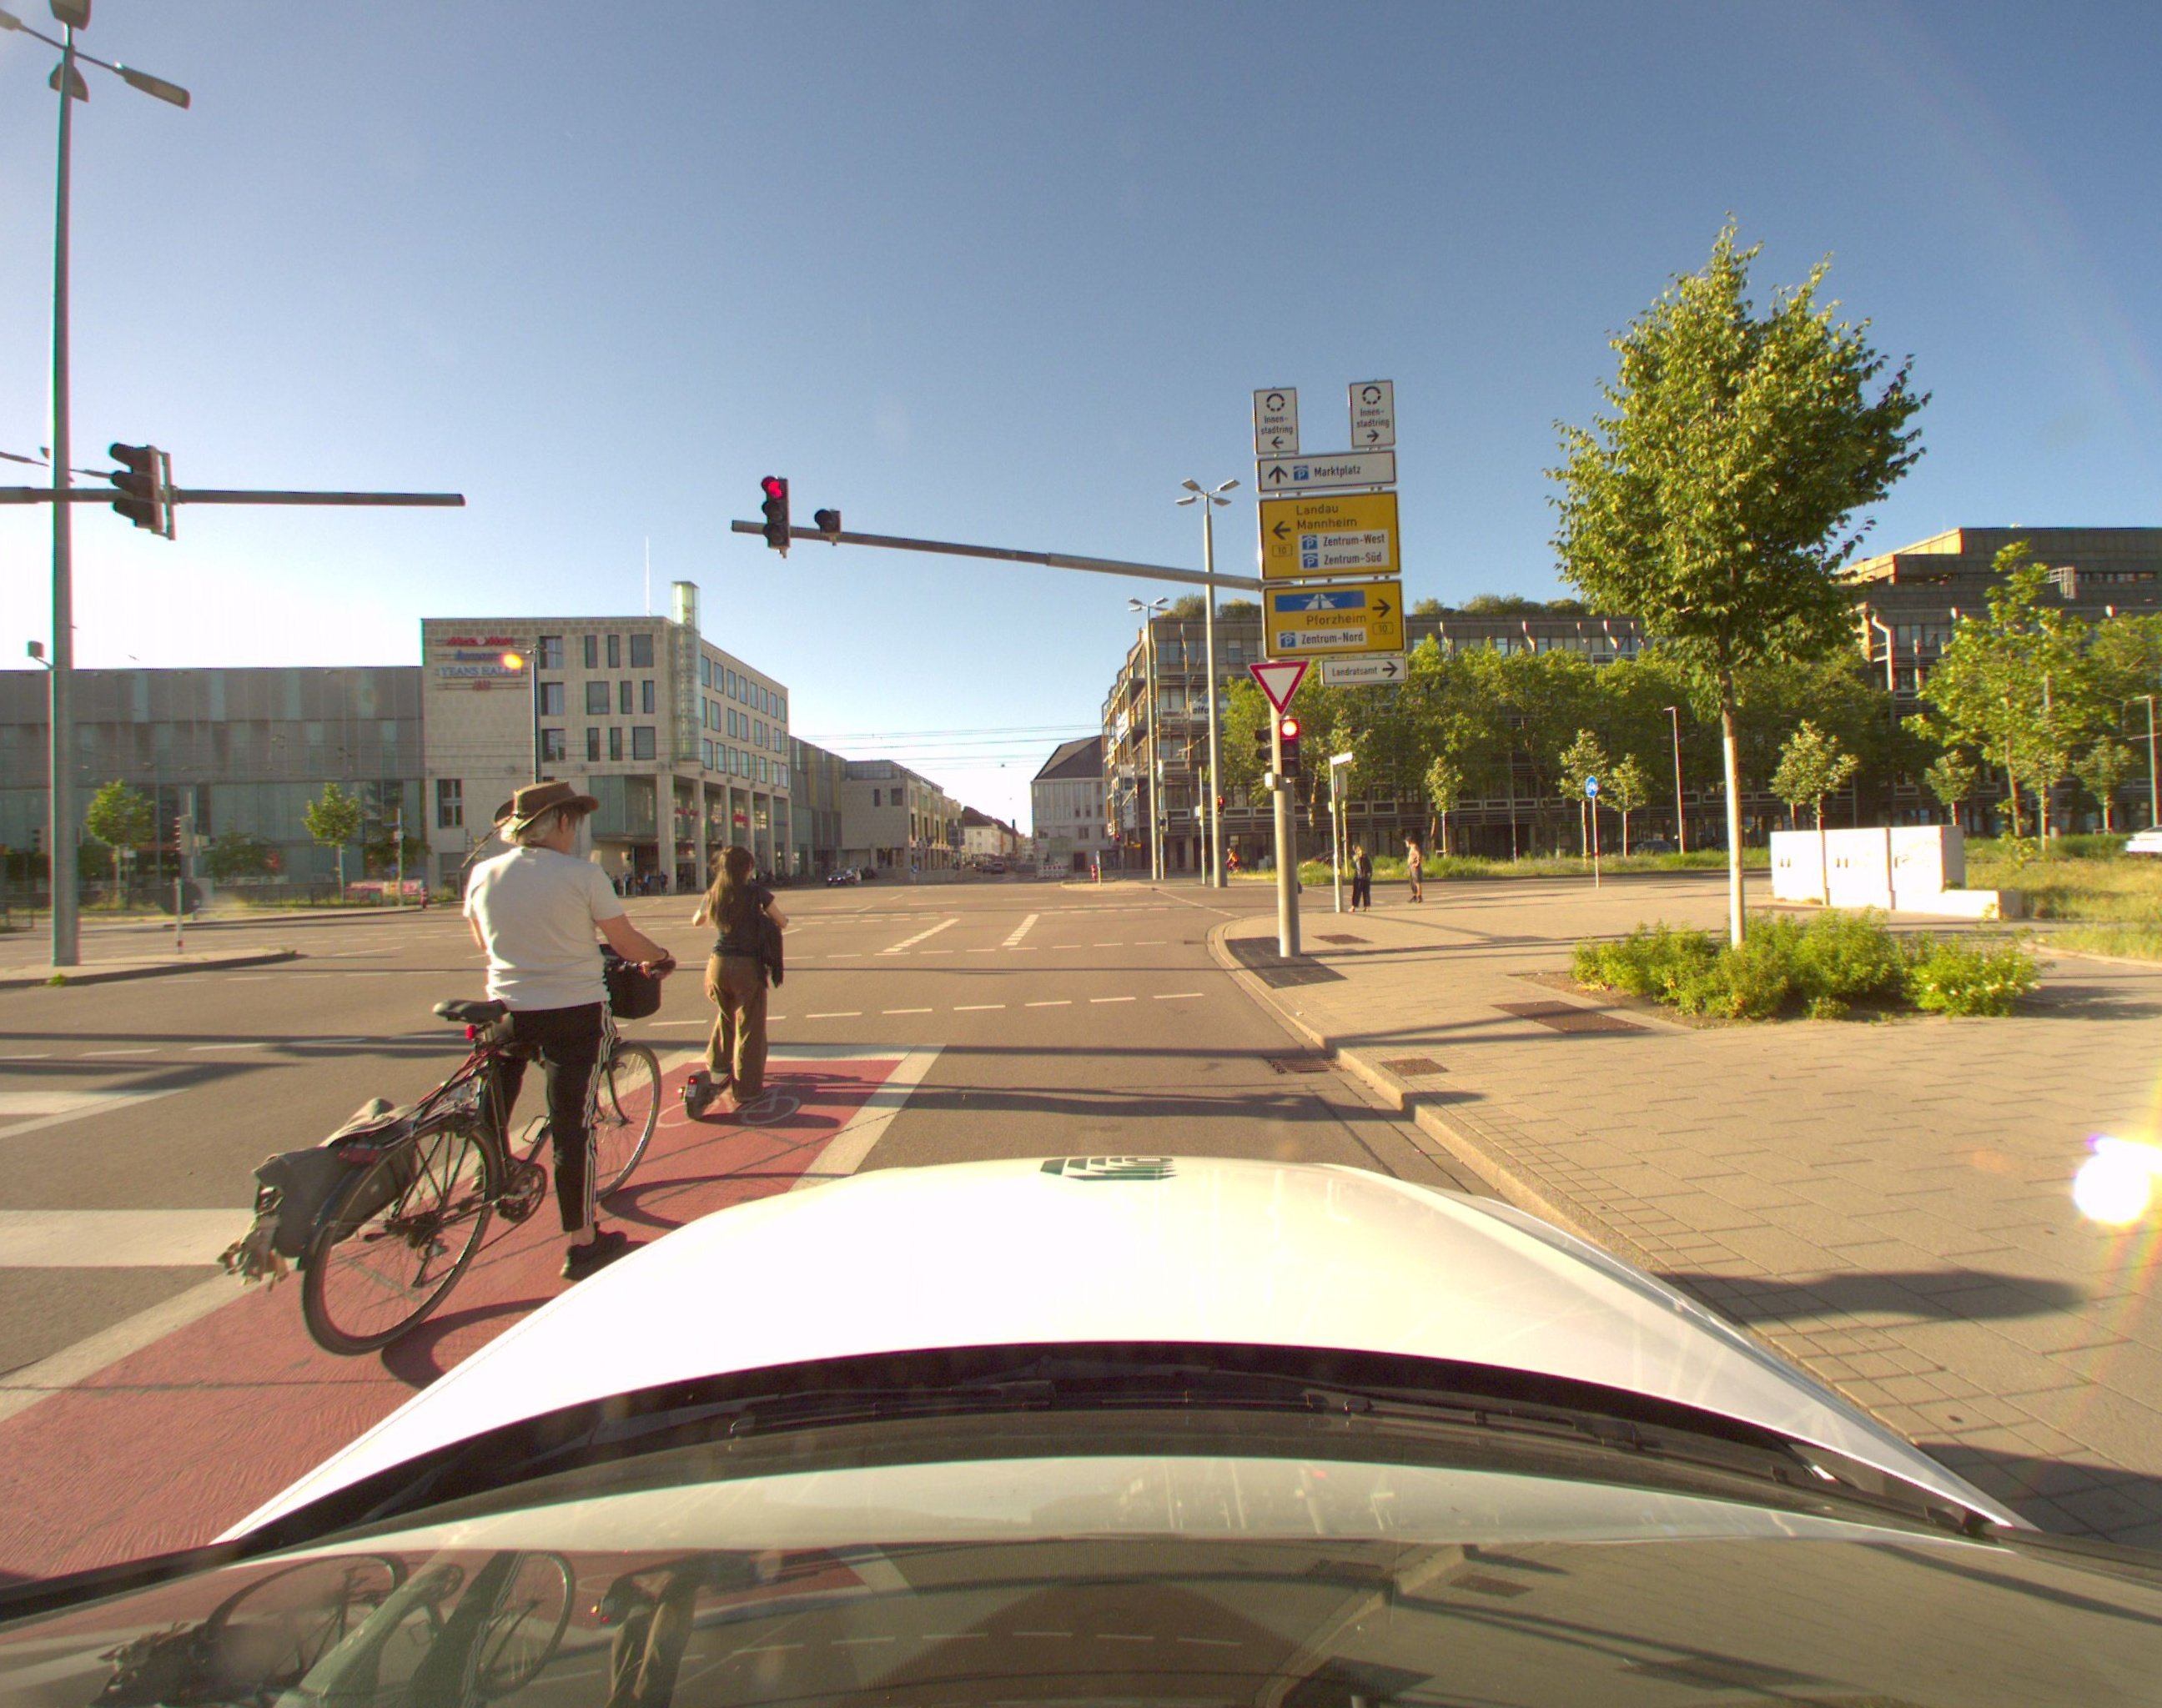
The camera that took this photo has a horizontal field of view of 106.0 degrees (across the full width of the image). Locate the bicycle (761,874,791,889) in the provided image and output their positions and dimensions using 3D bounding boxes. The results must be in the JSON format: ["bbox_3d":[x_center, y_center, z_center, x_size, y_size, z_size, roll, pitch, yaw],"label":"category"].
[{"bbox_3d":[-26.464,2.413,70.657,2.299,1.222,0.612,-2,0,-1],"label":"bicycle"}]

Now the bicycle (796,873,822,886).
[{"bbox_3d":[-27.187,2.506,81.349,2.299,1.222,0.612,-2,0,-1],"label":"bicycle"}]

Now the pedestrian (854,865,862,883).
[{"bbox_3d":[-21.383,1.901,78.185,0.650,1.719,0.447,-2,0,-22],"label":"pedestrian"}]

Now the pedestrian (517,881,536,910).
[{"bbox_3d":[-39.958,2.997,58.662,0.883,2.014,0.771,0,-1,-9],"label":"pedestrian"}]

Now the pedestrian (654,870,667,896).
[{"bbox_3d":[-30.794,2.115,59.672,0.800,1.843,0.856,-2,0,-26],"label":"pedestrian"}]

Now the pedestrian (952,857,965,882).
[{"bbox_3d":[-9.391,1.192,62.428,0.637,1.890,0.794,-1,-1,16],"label":"pedestrian"}]

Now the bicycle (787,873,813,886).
[{"bbox_3d":[-27.631,2.499,80.132,2.299,1.222,0.612,-2,0,-1],"label":"bicycle"}]

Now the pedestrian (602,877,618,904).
[{"bbox_3d":[-33.980,2.621,58.714,0.714,1.885,0.786,0,-1,-6],"label":"pedestrian"}]

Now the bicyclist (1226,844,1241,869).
[{"bbox_3d":[8.833,0.119,47.112,0.710,1.437,0.496,0,-1,-7],"label":"bicyclist"}]

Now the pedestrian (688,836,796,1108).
[{"bbox_3d":[-2.163,0.710,5.250,0.549,1.633,0.569,0,-1,-13],"label":"pedestrian"}]

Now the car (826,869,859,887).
[{"bbox_3d":[-20.627,2.048,70.513,1.625,1.342,3.999,-4,-1,0],"label":"car"}]

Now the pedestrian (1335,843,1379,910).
[{"bbox_3d":[6.308,0.504,18.661,0.785,1.492,0.644,0,-1,1],"label":"pedestrian"}]

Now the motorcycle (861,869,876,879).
[{"bbox_3d":[-25.784,2.425,98.745,1.807,1.206,0.509,0,0,-14],"label":"motorcycle"}]

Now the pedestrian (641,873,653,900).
[{"bbox_3d":[-31.054,2.310,58.281,0.718,1.885,0.781,0,-1,-25],"label":"pedestrian"}]

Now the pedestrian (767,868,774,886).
[{"bbox_3d":[-29.398,2.158,77.129,0.553,1.679,0.606,0,0,-8],"label":"pedestrian"}]

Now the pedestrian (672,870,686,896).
[{"bbox_3d":[-29.108,2.063,58.946,0.801,1.843,0.855,-2,0,-30],"label":"pedestrian"}]

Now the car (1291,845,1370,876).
[{"bbox_3d":[14.053,0.360,45.975,3.880,1.585,1.656,-2,-1,-6],"label":"car"}]

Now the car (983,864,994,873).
[{"bbox_3d":[-15.914,2.445,140.214,1.782,1.451,3.993,0,-1,-5],"label":"car"}]

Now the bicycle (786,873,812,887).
[{"bbox_3d":[-27.065,2.478,78.137,2.299,1.222,0.612,-2,0,-1],"label":"bicycle"}]

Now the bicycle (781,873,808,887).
[{"bbox_3d":[-26.699,2.458,75.970,2.299,1.222,0.612,-2,0,-1],"label":"bicycle"}]

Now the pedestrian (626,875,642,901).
[{"bbox_3d":[-32.514,2.465,59.250,0.783,1.885,0.716,0,-1,-4],"label":"pedestrian"}]

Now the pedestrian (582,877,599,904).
[{"bbox_3d":[-35.131,2.594,58.344,0.783,1.885,0.716,0,-1,-4],"label":"pedestrian"}]

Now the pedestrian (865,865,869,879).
[{"bbox_3d":[-26.104,2.186,99.361,0.521,1.679,0.580,0,0,-12],"label":"pedestrian"}]

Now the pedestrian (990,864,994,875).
[{"bbox_3d":[-12.838,2.234,117.683,0.520,1.679,0.582,0,0,-5],"label":"pedestrian"}]

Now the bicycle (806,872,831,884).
[{"bbox_3d":[-27.590,2.543,85.587,2.299,1.222,0.612,-2,0,-1],"label":"bicycle"}]

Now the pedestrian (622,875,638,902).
[{"bbox_3d":[-31.948,2.448,57.698,0.783,1.885,0.716,0,-1,-4],"label":"pedestrian"}]

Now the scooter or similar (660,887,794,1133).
[{"bbox_3d":[-2.157,0.874,5.081,0.547,1.294,1.188,0,-1,-13],"label":"scooter or similar"}]

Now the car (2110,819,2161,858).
[{"bbox_3d":[41.809,-0.657,30.336,4.934,1.419,1.850,-2,0,-4],"label":"car"}]

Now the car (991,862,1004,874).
[{"bbox_3d":[-11.140,1.854,108.661,1.735,1.531,3.848,0,-1,-5],"label":"car"}]

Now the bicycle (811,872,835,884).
[{"bbox_3d":[-27.426,2.551,86.653,2.299,1.222,0.612,-2,0,-1],"label":"bicycle"}]

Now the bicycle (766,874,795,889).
[{"bbox_3d":[-26.567,2.425,72.017,2.299,1.222,0.612,-2,0,-1],"label":"bicycle"}]

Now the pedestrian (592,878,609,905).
[{"bbox_3d":[-33.870,2.610,57.379,0.783,1.885,0.716,0,-1,-4],"label":"pedestrian"}]

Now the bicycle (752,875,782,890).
[{"bbox_3d":[-26.736,2.404,69.380,2.299,1.222,0.612,-2,0,-1],"label":"bicycle"}]

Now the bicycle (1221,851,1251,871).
[{"bbox_3d":[8.966,0.383,47.126,1.643,1.154,0.496,0,-1,-8],"label":"bicycle"}]

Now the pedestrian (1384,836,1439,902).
[{"bbox_3d":[8.552,0.375,21.093,0.881,1.665,0.958,0,-1,-19],"label":"pedestrian"}]

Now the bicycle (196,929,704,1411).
[{"bbox_3d":[-2.149,0.947,3.144,0.483,1.156,1.832,0,-1,2],"label":"bicycle"}]

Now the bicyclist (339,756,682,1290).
[{"bbox_3d":[-2.057,0.547,3.067,0.658,1.720,0.866,0,-1,1],"label":"bicyclist"}]

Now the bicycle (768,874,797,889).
[{"bbox_3d":[-26.742,2.433,72.902,2.299,1.222,0.612,-2,0,-1],"label":"bicycle"}]
